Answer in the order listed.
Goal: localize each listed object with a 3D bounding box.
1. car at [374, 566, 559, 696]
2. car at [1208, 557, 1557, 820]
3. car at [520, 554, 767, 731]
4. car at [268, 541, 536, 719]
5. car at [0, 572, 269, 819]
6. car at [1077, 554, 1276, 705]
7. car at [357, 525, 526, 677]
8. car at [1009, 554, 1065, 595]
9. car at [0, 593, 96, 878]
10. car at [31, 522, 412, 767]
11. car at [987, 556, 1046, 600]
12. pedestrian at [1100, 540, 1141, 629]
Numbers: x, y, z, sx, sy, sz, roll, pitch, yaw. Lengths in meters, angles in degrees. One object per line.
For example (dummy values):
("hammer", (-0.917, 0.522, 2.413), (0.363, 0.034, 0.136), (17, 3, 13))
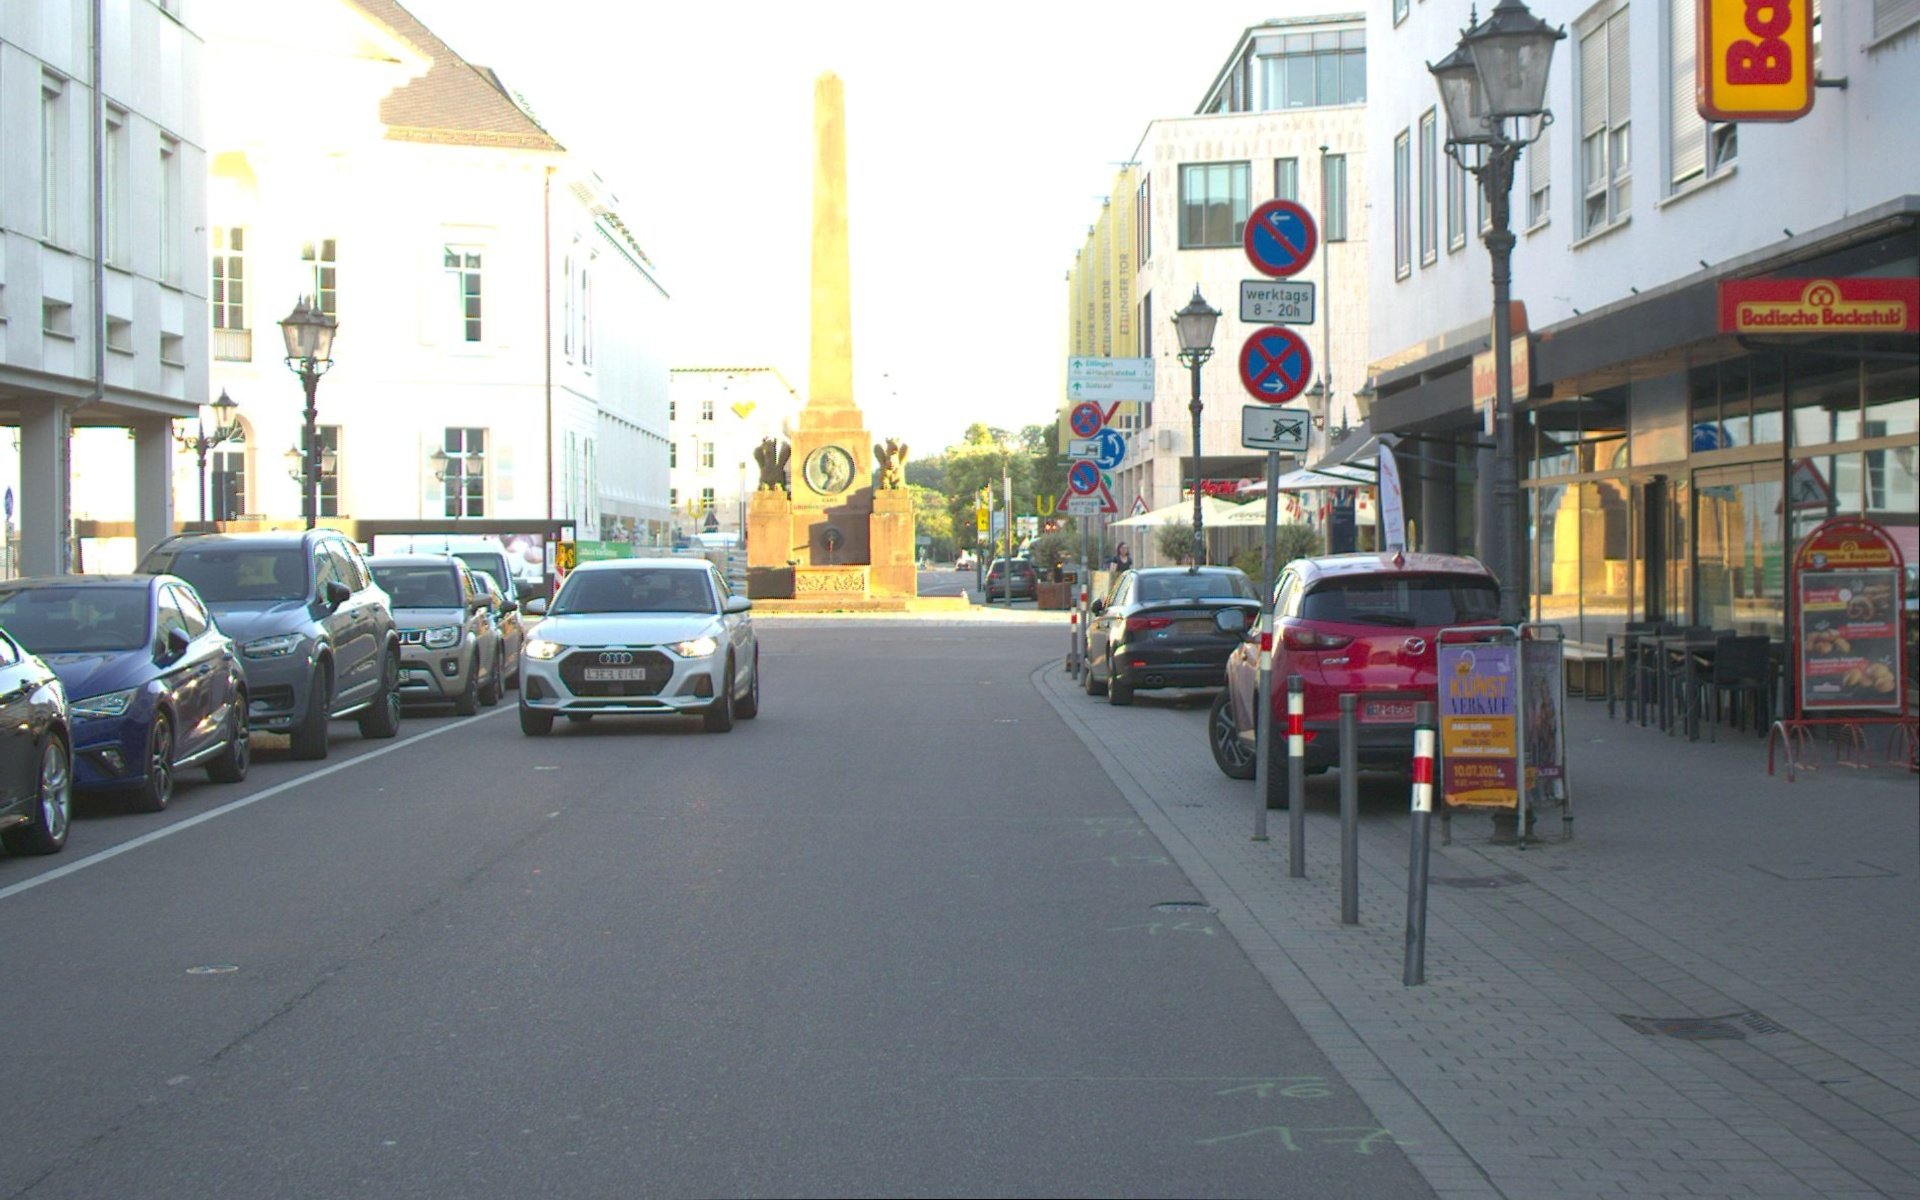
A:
("car", (-5.471, 0.309, 38.518), (1.677, 1.349, 4.106), (0, 1, -3))
("car", (2.589, 0.491, 21.816), (1.759, 1.518, 3.677), (0, 1, 0))
("car", (-2.661, 0.316, 29.704), (1.764, 1.417, 4.000), (0, 1, 0))
("car", (-5.442, 0.243, 34.008), (1.993, 1.656, 4.000), (0, 1, 0))
("car", (-5.649, 0.550, 22.073), (1.673, 1.395, 4.000), (-1, 1, -1))
("car", (2.190, 0.259, 35.666), (1.801, 1.459, 4.117), (0, 1, 0))
("car", (-6.512, -0.027, 43.547), (1.993, 1.809, 4.785), (0, 1, -7))
("car", (2.809, -0.930, 125.815), (1.993, 1.459, 4.000), (0, 1, 1))
("car", (-5.626, 0.669, 16.411), (1.993, 1.349, 4.000), (0, 1, 0))
("car", (-5.727, 0.289, 27.229), (1.993, 1.722, 4.516), (-2, 1, 0))
("car", (1.929, -0.769, 117.331), (1.993, 1.459, 4.000), (0, 1, 1))
("pedestrian", (2.976, -0.294, 63.700), (0.690, 1.642, 0.696), (-1, 1, -1))
